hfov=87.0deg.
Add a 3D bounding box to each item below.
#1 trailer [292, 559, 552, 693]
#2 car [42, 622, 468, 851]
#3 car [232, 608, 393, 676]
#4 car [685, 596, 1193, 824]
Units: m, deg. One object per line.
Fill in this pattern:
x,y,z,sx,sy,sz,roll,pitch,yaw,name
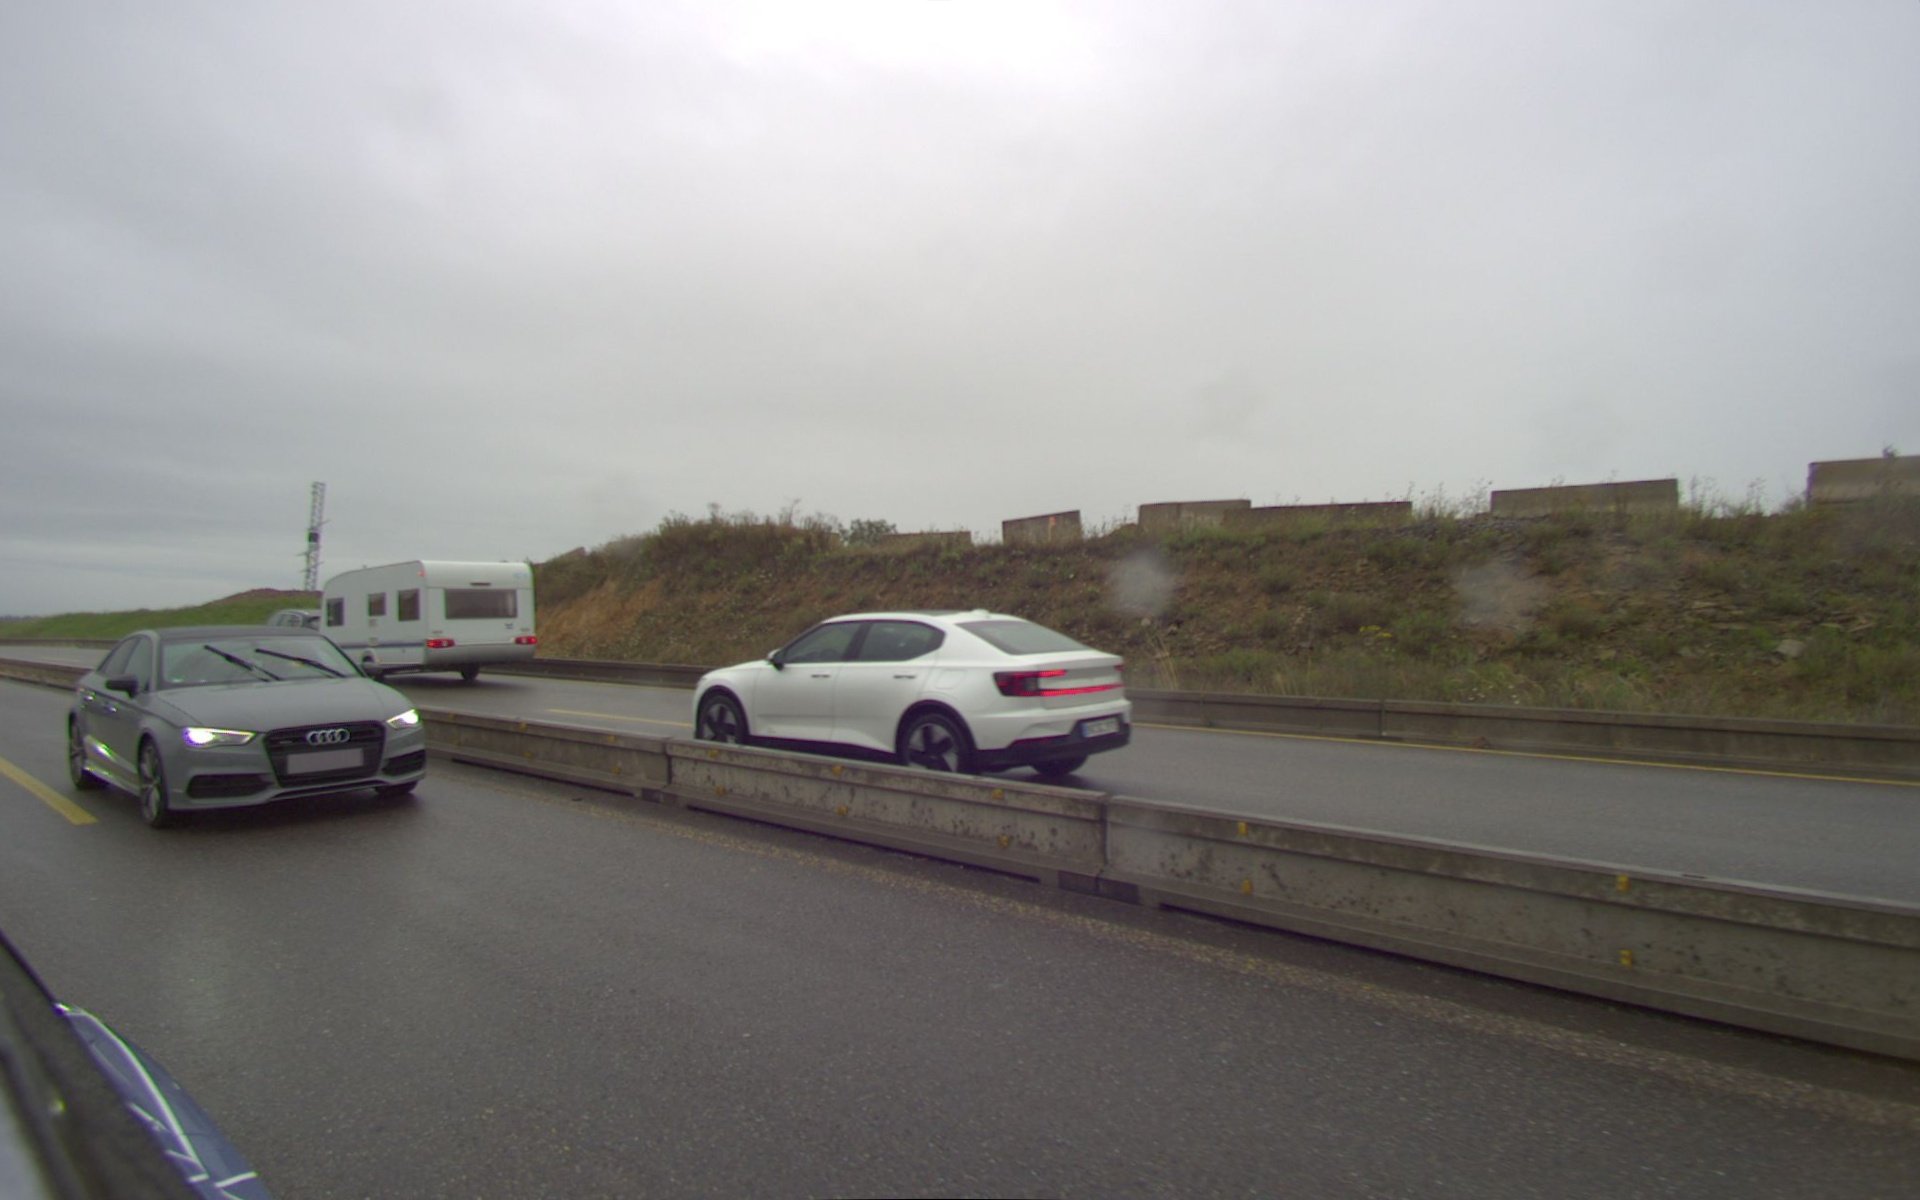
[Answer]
-12.219,0.550,22.685,7.153,2.584,2.486,-1,0,39,trailer
-5.963,0.910,8.398,4.082,1.393,1.783,-1,0,38,car
-17.031,1.058,26.509,5.112,1.598,1.974,-1,0,38,car
-0.369,0.819,8.947,4.332,1.511,1.858,-3,-1,41,car
